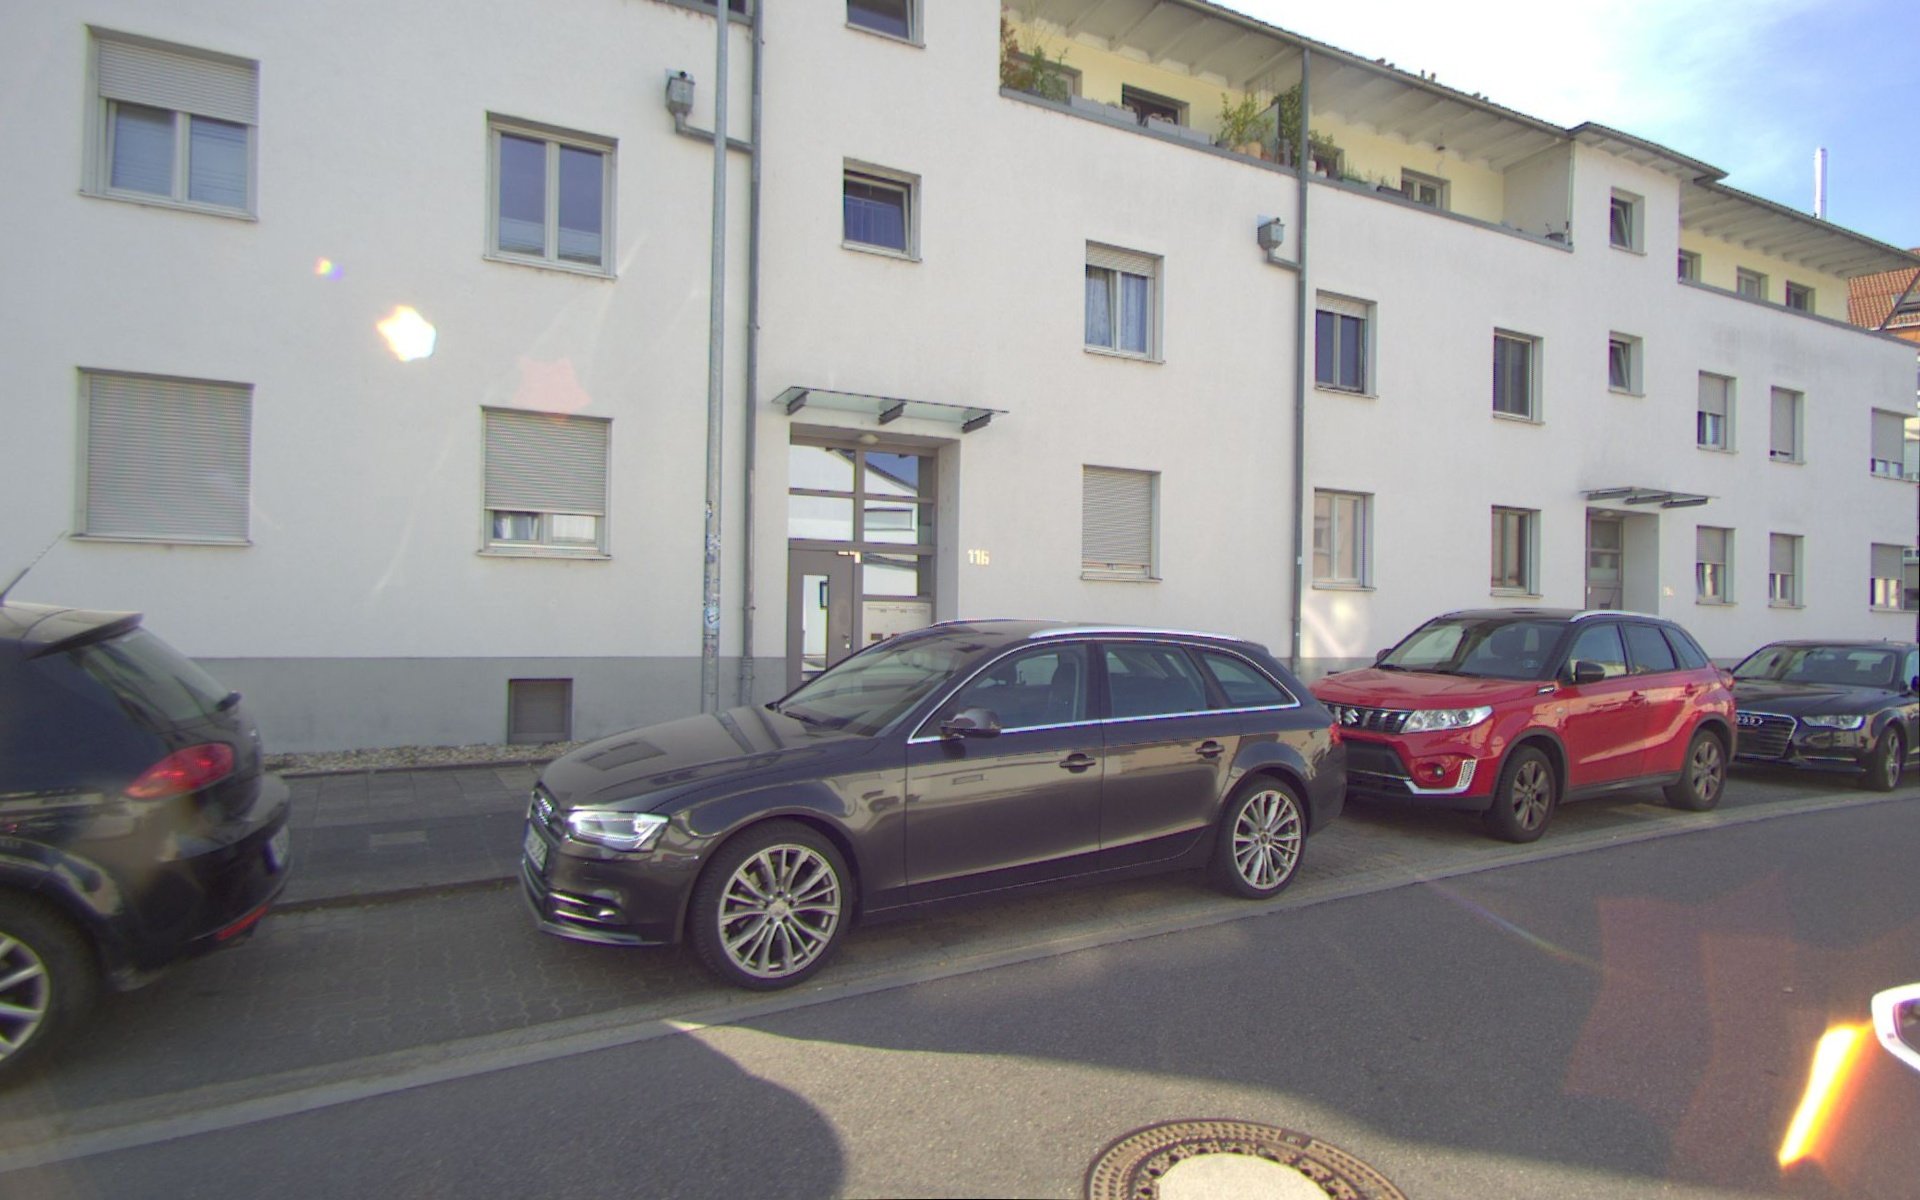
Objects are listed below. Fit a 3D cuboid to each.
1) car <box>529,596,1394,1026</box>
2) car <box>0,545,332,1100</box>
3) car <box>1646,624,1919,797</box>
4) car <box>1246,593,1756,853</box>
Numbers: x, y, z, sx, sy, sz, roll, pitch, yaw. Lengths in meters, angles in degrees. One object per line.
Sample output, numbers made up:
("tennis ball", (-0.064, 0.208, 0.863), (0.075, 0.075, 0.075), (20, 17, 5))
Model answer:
("car", (0.185, 0.801, 5.464), (4.451, 1.497, 1.718), (2, 1, -31))
("car", (-4.386, 0.599, 3.037), (4.130, 1.644, 1.766), (2, 1, -31))
("car", (9.417, 1.059, 10.799), (4.213, 1.497, 1.719), (2, 0, -30))
("car", (4.485, 0.826, 8.177), (4.213, 1.643, 1.719), (1, -1, -30))
